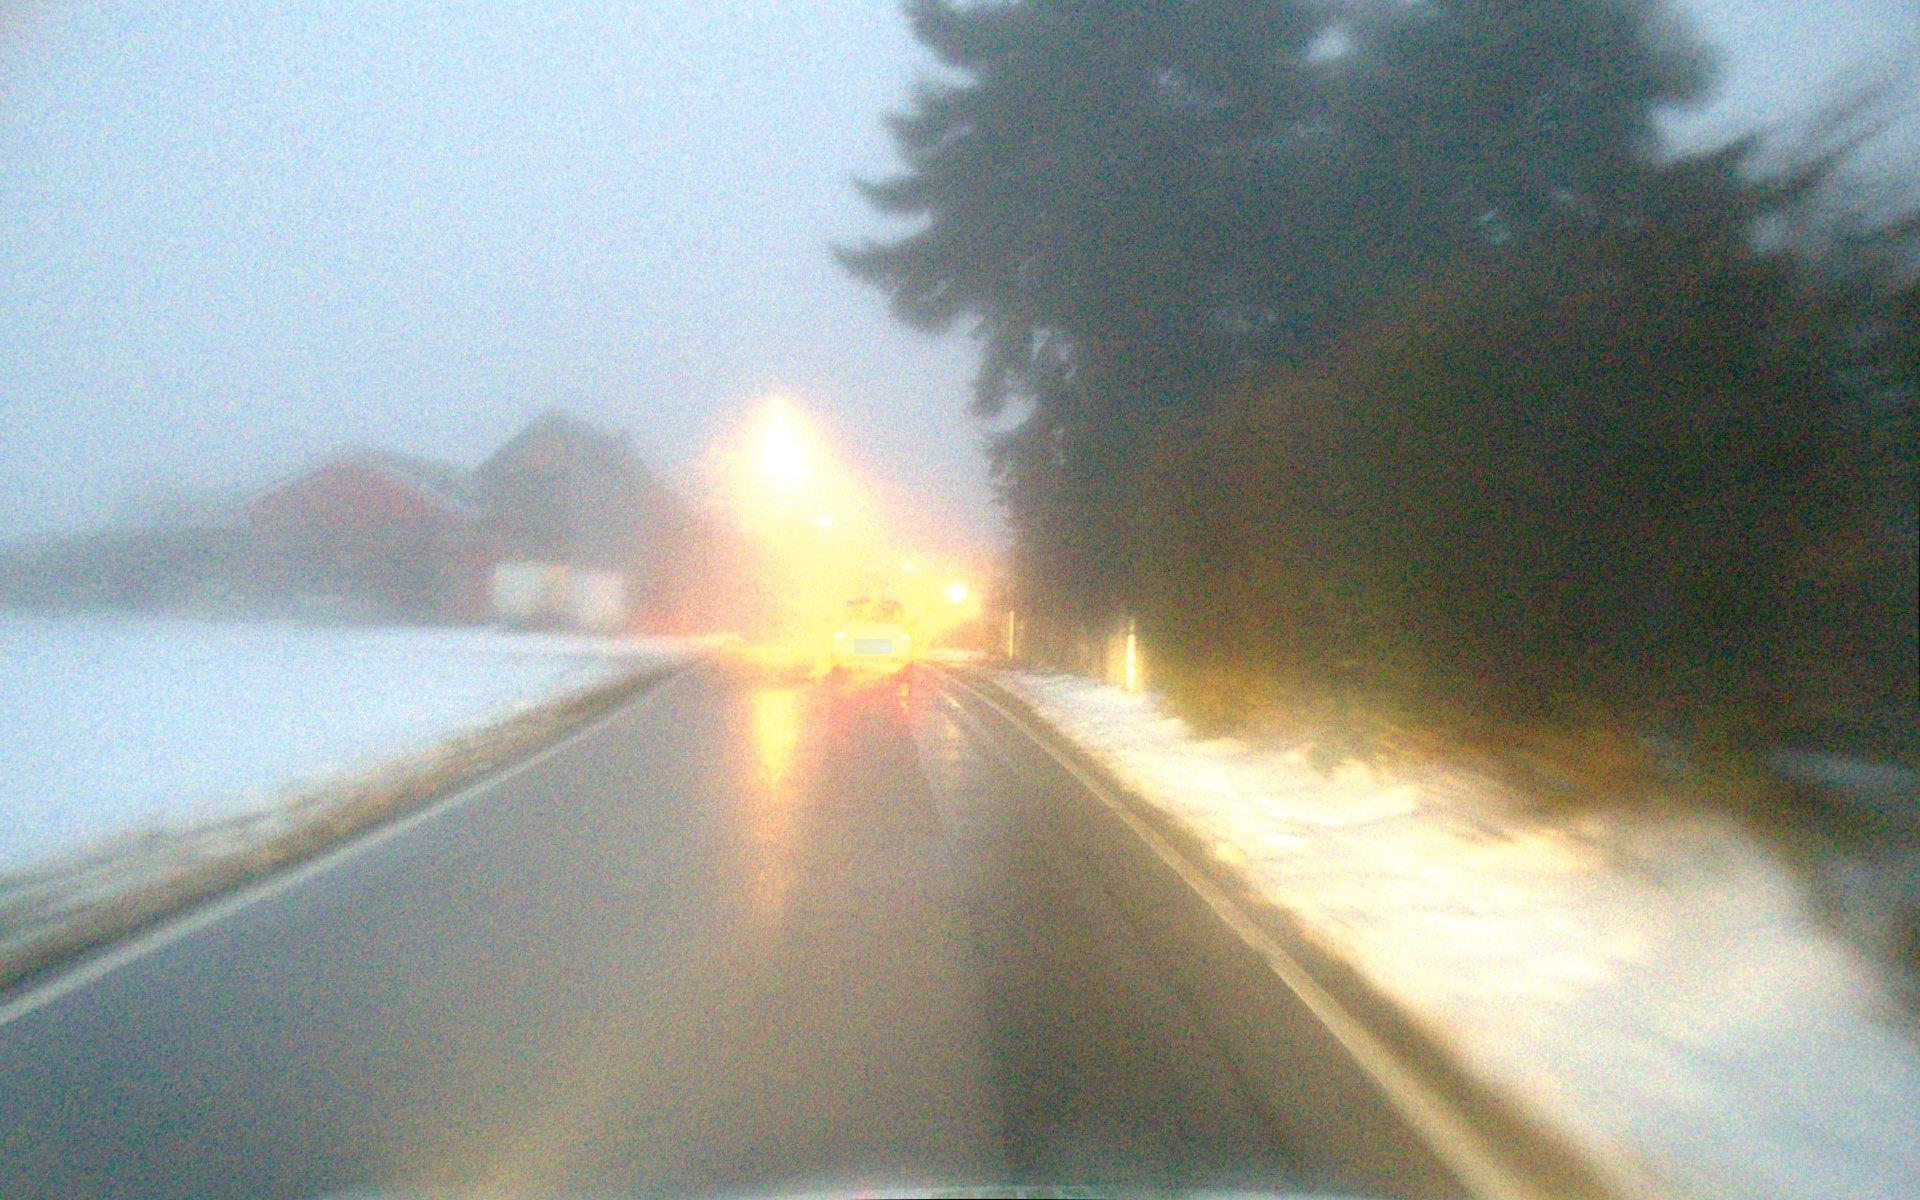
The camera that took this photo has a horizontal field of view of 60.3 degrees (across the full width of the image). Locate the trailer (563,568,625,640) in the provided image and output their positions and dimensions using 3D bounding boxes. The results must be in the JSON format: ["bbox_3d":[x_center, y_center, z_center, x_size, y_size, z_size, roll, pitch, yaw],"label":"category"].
[{"bbox_3d":[-13.868,0.146,62.590,1.667,2.651,3.419,0,0,-24],"label":"trailer"}]

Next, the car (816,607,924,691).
[{"bbox_3d":[-1.694,0.908,32.410,1.953,1.534,3.999,0,0,-1],"label":"car"}]

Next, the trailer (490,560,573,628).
[{"bbox_3d":[-16.510,-0.211,63.900,1.952,2.533,4.012,0,0,4],"label":"trailer"}]
